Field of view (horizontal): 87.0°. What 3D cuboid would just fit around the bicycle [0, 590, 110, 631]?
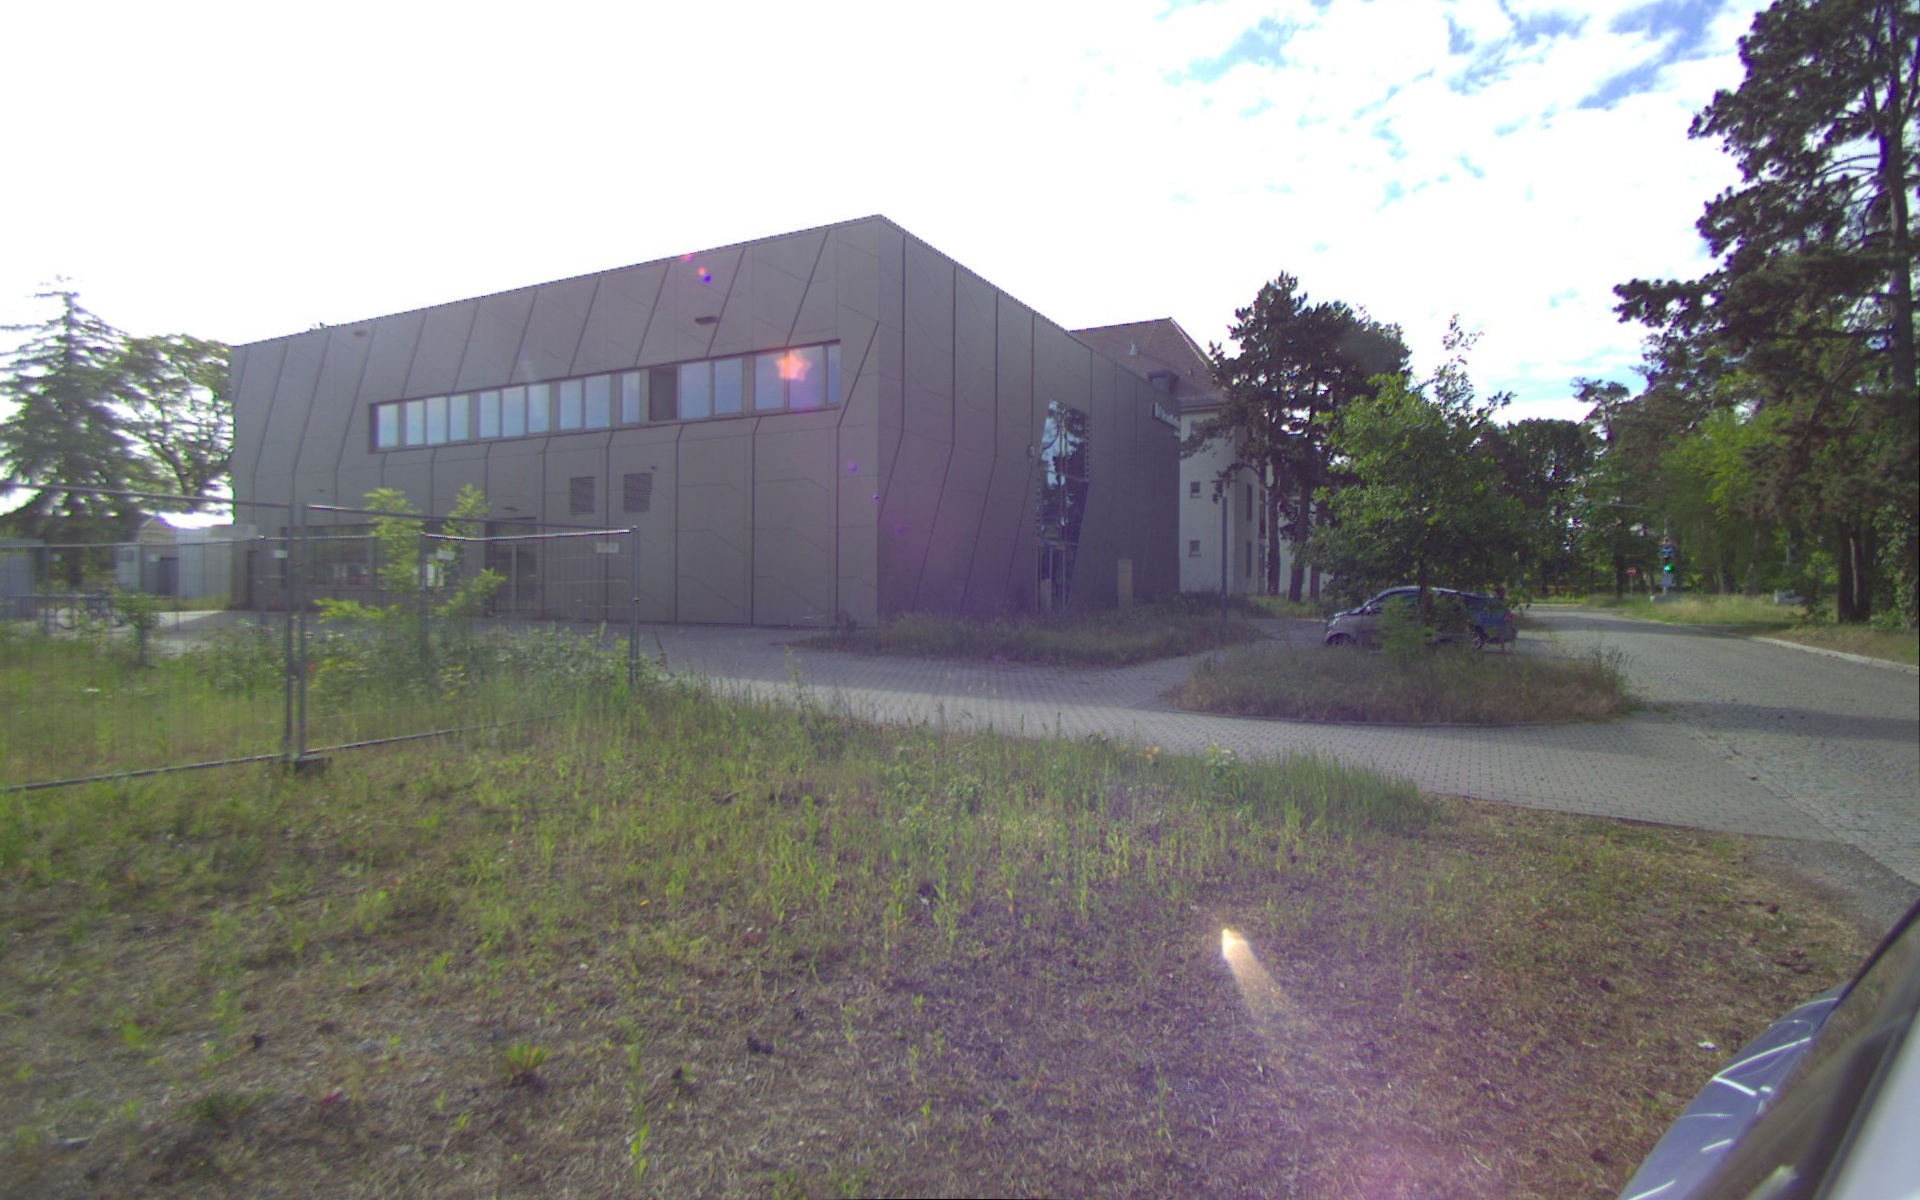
[{"bbox_3d":[-24.530,0.256,27.479,0.936,1.057,2.051,0,1,26],"label":"bicycle"}]

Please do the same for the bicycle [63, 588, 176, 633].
[{"bbox_3d":[-21.532,0.253,25.986,0.936,1.100,2.051,0,1,26],"label":"bicycle"}]

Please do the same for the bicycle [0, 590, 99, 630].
[{"bbox_3d":[-25.357,0.261,28.068,0.936,1.057,2.051,0,1,26],"label":"bicycle"}]

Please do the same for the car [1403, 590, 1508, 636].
[{"bbox_3d":[16.512,0.417,33.844,3.058,1.468,1.481,0,0,23],"label":"car"}]

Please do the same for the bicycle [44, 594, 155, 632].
[{"bbox_3d":[-22.598,0.321,26.628,0.936,0.933,2.051,0,1,26],"label":"bicycle"}]

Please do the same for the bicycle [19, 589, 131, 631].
[{"bbox_3d":[-23.546,0.246,26.964,0.936,1.057,2.051,0,1,26],"label":"bicycle"}]

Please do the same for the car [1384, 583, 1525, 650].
[{"bbox_3d":[12.371,0.379,25.495,3.060,1.475,1.480,3,1,24],"label":"car"}]

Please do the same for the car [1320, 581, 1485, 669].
[{"bbox_3d":[8.485,0.431,19.422,2.748,1.569,1.409,0,0,33],"label":"car"}]

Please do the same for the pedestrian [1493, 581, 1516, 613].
[{"bbox_3d":[31.317,-0.173,58.236,0.945,1.867,0.951,0,0,14],"label":"pedestrian"}]
